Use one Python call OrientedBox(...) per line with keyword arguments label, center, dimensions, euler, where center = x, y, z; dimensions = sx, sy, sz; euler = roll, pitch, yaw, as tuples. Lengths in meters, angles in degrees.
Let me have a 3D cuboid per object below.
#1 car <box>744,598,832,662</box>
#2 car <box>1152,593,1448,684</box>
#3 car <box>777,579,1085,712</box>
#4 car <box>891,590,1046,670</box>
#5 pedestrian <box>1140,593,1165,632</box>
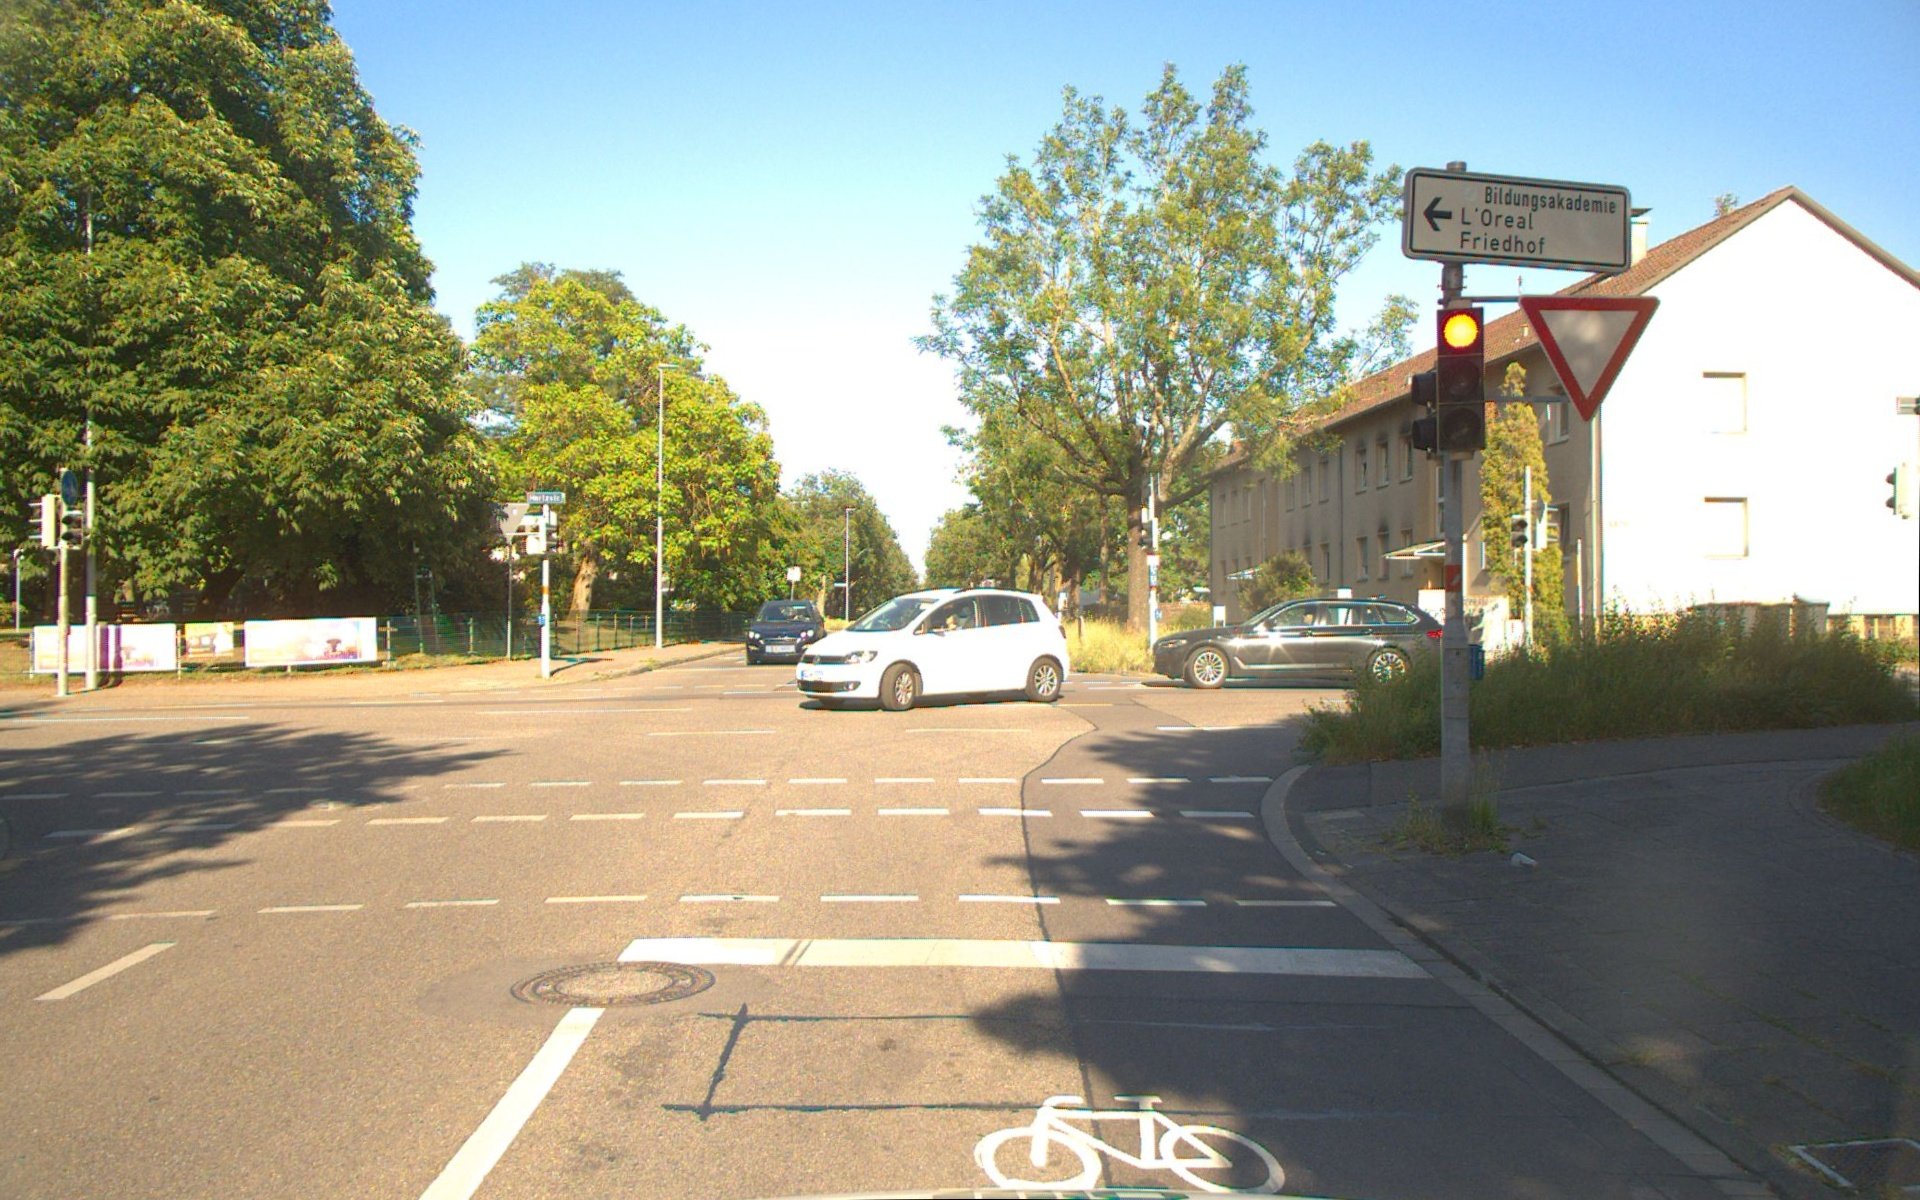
OrientedBox(label="car", center=(-3.964, 0.660, 38.547), dimensions=(1.676, 1.410, 3.471), euler=(0, 0, 0))
OrientedBox(label="car", center=(5.541, 0.619, 27.512), dimensions=(4.628, 1.455, 2.001), euler=(0, 0, 5))
OrientedBox(label="car", center=(-0.349, 0.560, 22.969), dimensions=(4.078, 1.590, 1.734), euler=(-2, 1, -38))
OrientedBox(label="car", center=(0.114, 0.611, 35.219), dimensions=(1.730, 1.610, 3.966), euler=(1, 0, -26))
OrientedBox(label="pedestrian", center=(7.526, 0.483, 64.690), dimensions=(0.825, 1.519, 0.924), euler=(2, 0, -1))
